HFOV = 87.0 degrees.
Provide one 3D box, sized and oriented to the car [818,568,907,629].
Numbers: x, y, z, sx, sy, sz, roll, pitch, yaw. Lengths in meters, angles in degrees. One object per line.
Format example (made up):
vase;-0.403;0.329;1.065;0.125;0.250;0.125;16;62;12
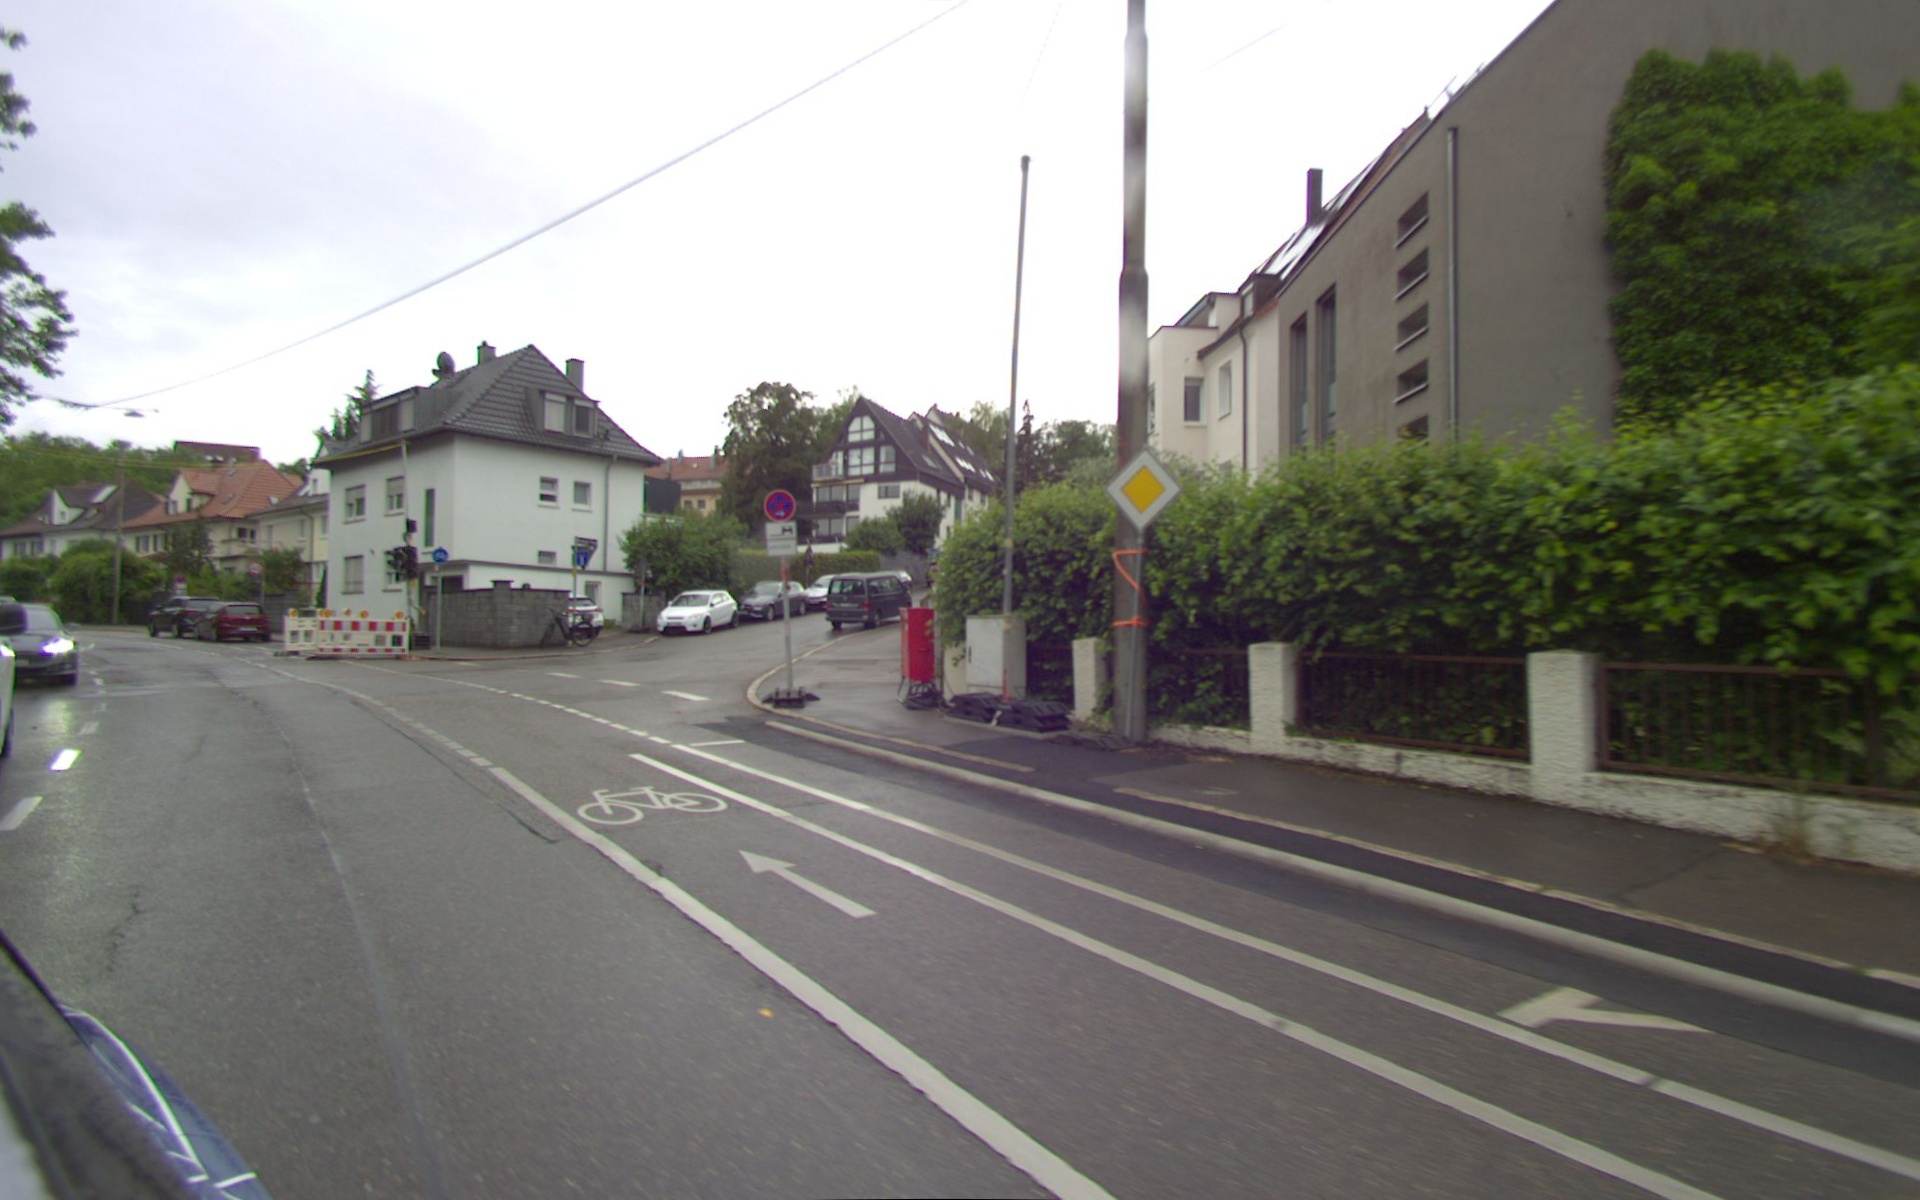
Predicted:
car;-3.664;-0.093;38.658;1.900;1.950;3.774;-1;5;20

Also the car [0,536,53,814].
car;-8.047;0.509;7.190;2.014;1.908;5.220;0;0;-38

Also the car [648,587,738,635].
car;-9.597;0.361;36.677;1.732;1.476;3.549;-1;3;12

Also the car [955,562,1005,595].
car;1.123;-1.190;54.216;1.572;1.479;3.539;-1;5;20

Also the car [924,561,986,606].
car;-0.181;-0.804;48.717;1.907;1.850;3.392;-1;5;20

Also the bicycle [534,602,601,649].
bicycle;-11.478;0.733;29.645;0.707;1.321;1.707;0;0;44

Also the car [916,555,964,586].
car;-1.162;-1.814;61.647;1.328;1.566;3.955;0;6;24

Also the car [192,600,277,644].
car;-26.975;0.852;37.595;3.798;1.505;1.871;-3;-4;44

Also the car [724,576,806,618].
car;-8.087;-0.147;42.279;1.691;1.476;3.832;-1;3;18

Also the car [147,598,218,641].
car;-31.209;0.794;40.586;4.006;1.601;1.647;-3;-2;44

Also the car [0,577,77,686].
car;-17.521;0.516;18.358;3.927;1.820;1.926;0;0;43

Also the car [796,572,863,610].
car;-6.027;-0.466;47.141;1.570;1.476;3.833;0;5;18
